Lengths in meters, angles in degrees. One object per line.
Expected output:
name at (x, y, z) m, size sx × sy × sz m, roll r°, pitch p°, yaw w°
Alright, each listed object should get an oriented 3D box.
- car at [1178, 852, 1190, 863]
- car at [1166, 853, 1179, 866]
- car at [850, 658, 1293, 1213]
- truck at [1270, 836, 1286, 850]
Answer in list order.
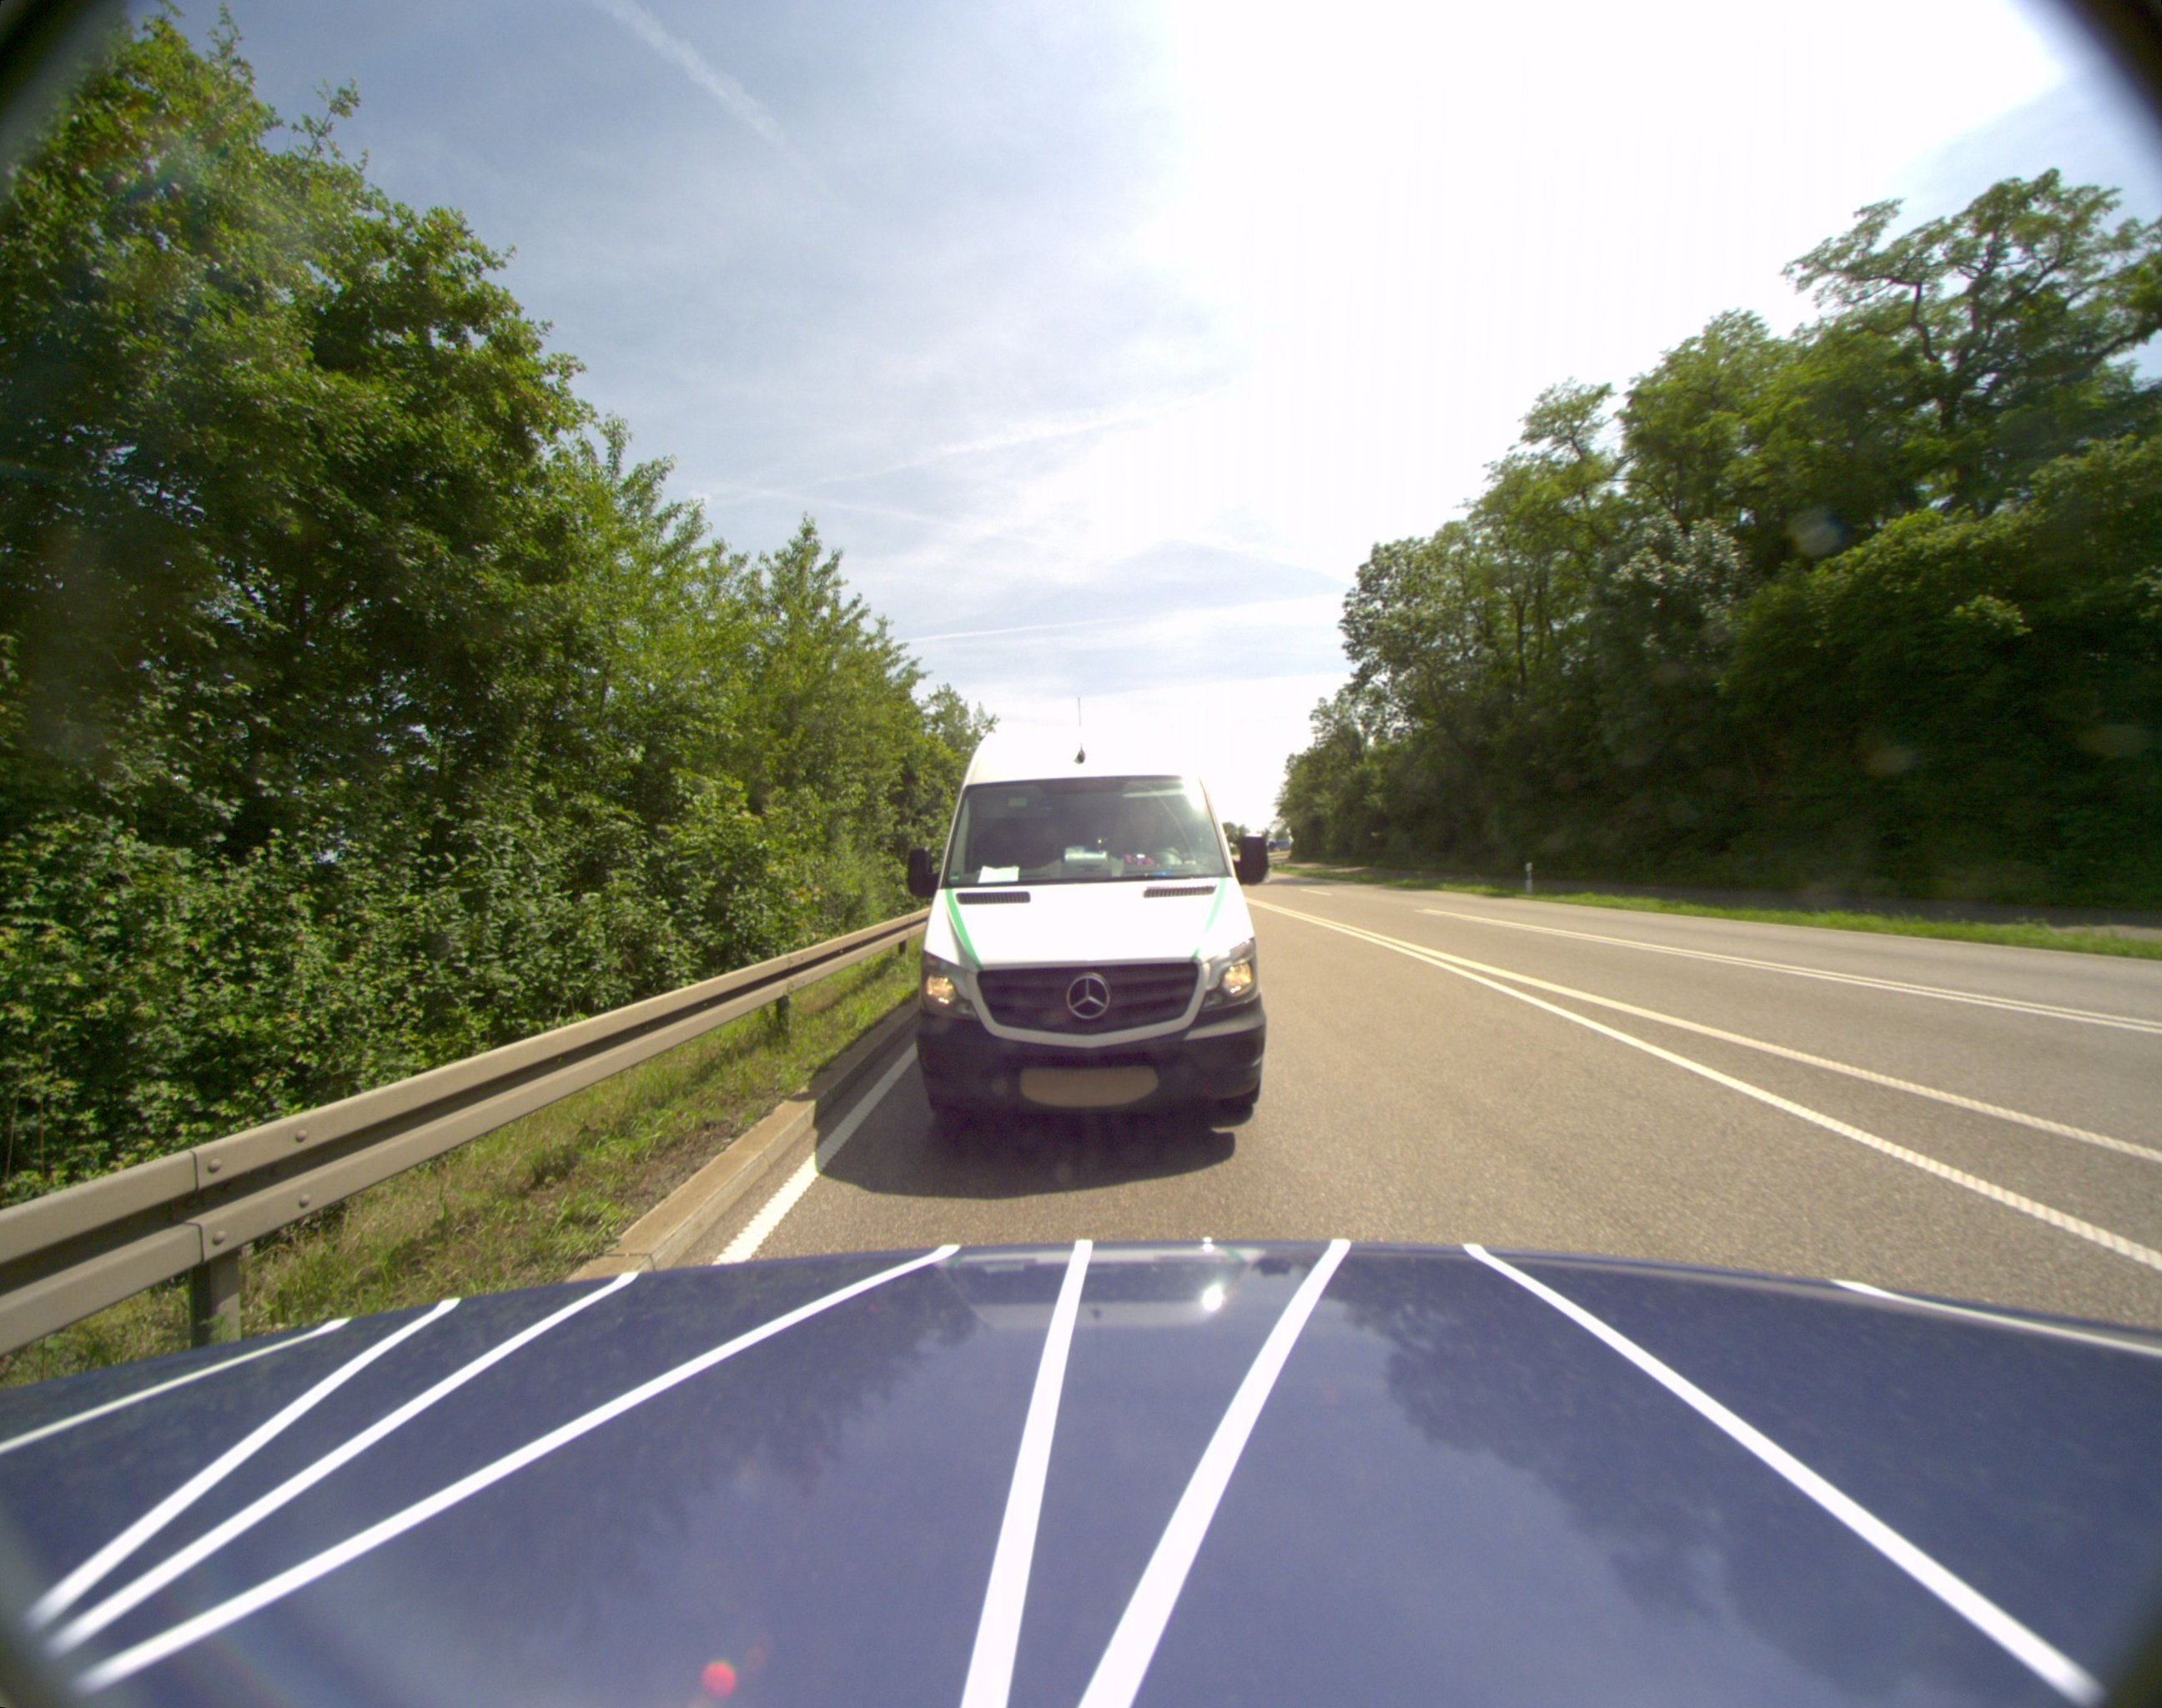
car at (19.670, 0.657, 144.662) m, size 1.764 × 1.849 × 3.813 m, roll -2°, pitch 1°, yaw 14°
car at (15.413, 0.952, 127.899) m, size 1.850 × 2.002 × 3.875 m, roll -2°, pitch 1°, yaw 11°
car at (0.034, 0.389, 6.131) m, size 1.958 × 2.502 × 5.267 m, roll -2°, pitch 0°, yaw 2°
truck at (64.972, -3.591, 250.300) m, size 4.392 × 4.434 × 14.730 m, roll -2°, pitch 0°, yaw 18°
